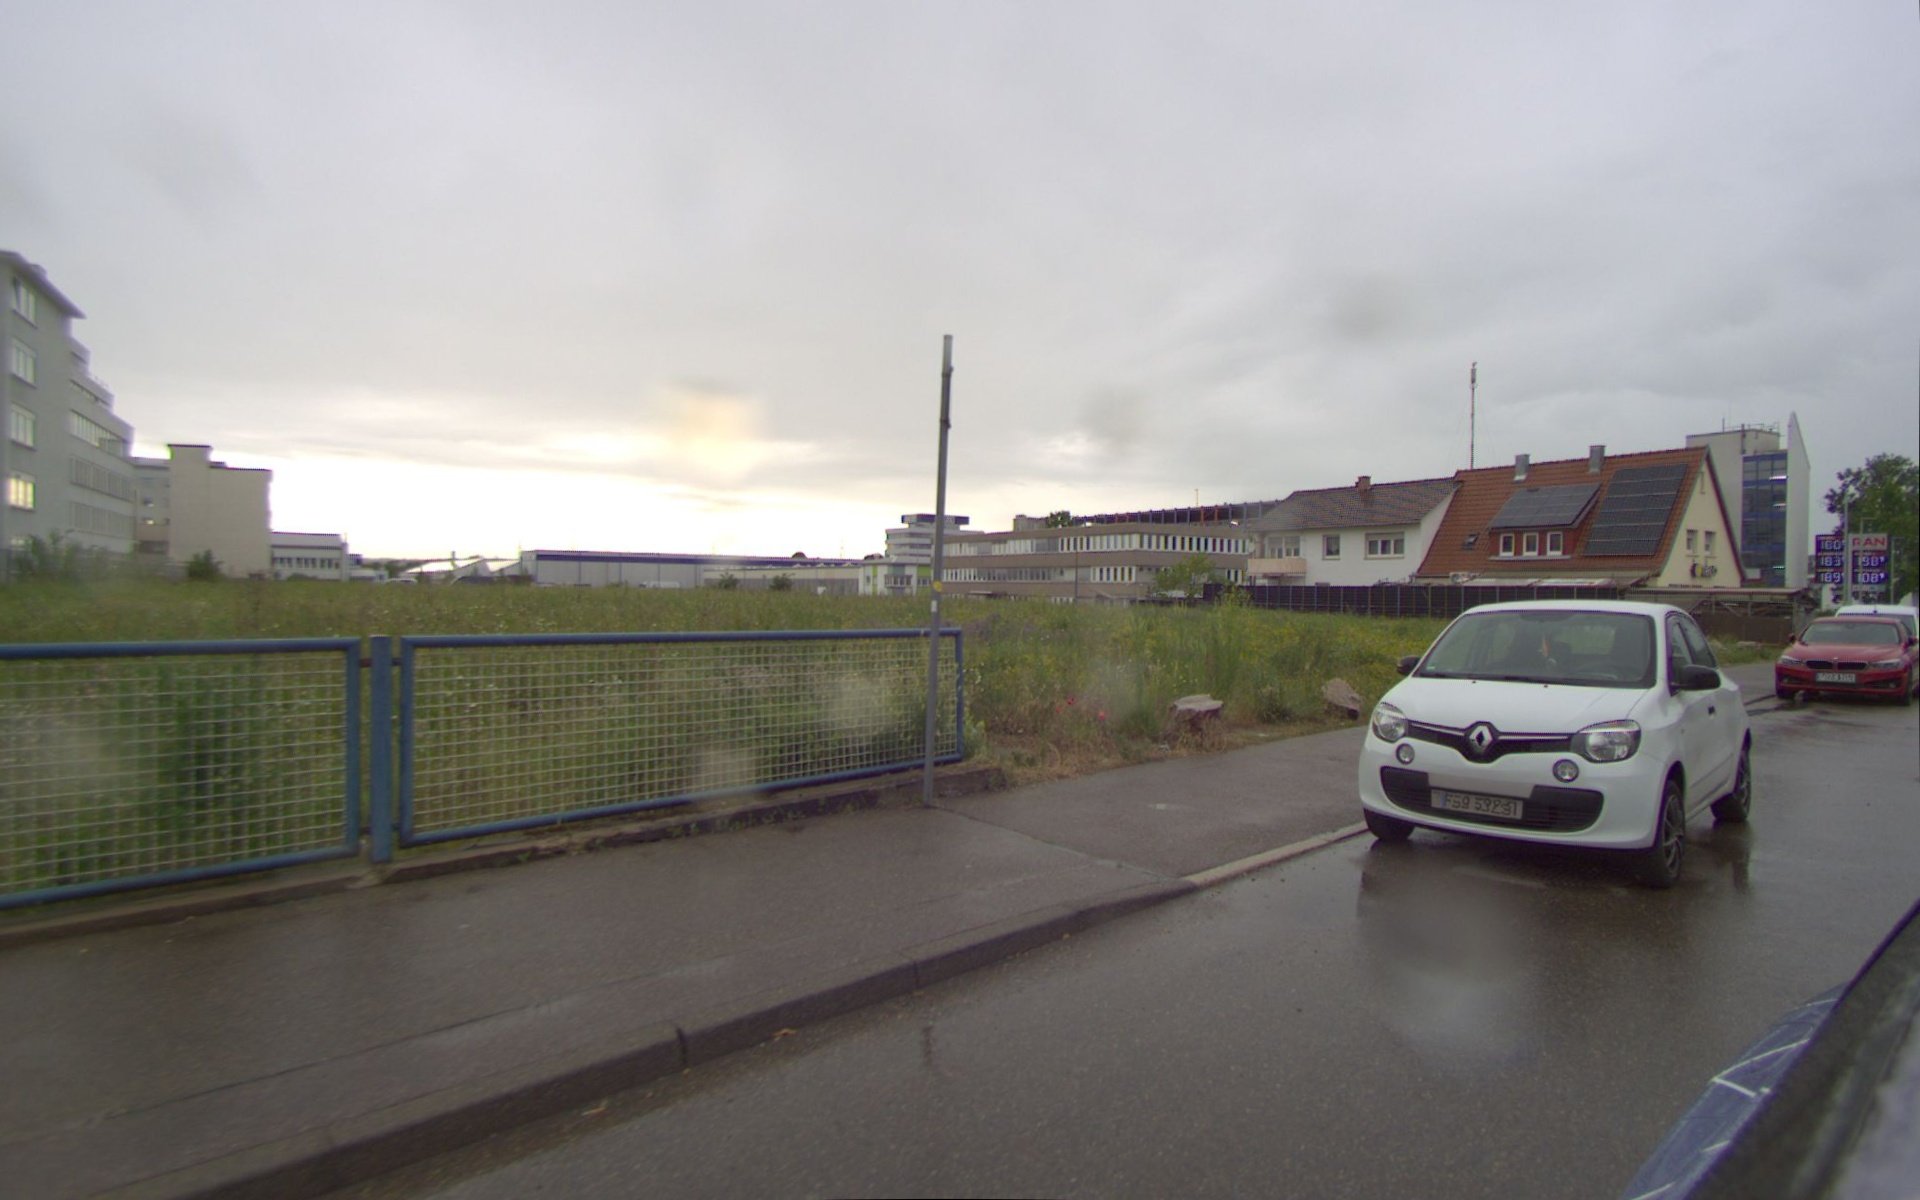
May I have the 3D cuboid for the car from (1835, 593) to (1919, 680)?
[{"bbox_3d":[21.889,0.810,23.644,4.498,1.848,1.770,1,-1,-44],"label":"car"}]

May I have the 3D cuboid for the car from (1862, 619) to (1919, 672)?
[{"bbox_3d":[26.075,1.202,27.679,4.248,1.353,1.770,1,-1,-44],"label":"car"}]

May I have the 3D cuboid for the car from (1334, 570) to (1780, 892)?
[{"bbox_3d":[4.170,0.656,6.838,3.613,1.577,1.683,1,-1,-44],"label":"car"}]

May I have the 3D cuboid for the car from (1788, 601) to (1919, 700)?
[{"bbox_3d":[16.616,0.839,18.463,4.563,1.595,1.645,1,-1,-42],"label":"car"}]
